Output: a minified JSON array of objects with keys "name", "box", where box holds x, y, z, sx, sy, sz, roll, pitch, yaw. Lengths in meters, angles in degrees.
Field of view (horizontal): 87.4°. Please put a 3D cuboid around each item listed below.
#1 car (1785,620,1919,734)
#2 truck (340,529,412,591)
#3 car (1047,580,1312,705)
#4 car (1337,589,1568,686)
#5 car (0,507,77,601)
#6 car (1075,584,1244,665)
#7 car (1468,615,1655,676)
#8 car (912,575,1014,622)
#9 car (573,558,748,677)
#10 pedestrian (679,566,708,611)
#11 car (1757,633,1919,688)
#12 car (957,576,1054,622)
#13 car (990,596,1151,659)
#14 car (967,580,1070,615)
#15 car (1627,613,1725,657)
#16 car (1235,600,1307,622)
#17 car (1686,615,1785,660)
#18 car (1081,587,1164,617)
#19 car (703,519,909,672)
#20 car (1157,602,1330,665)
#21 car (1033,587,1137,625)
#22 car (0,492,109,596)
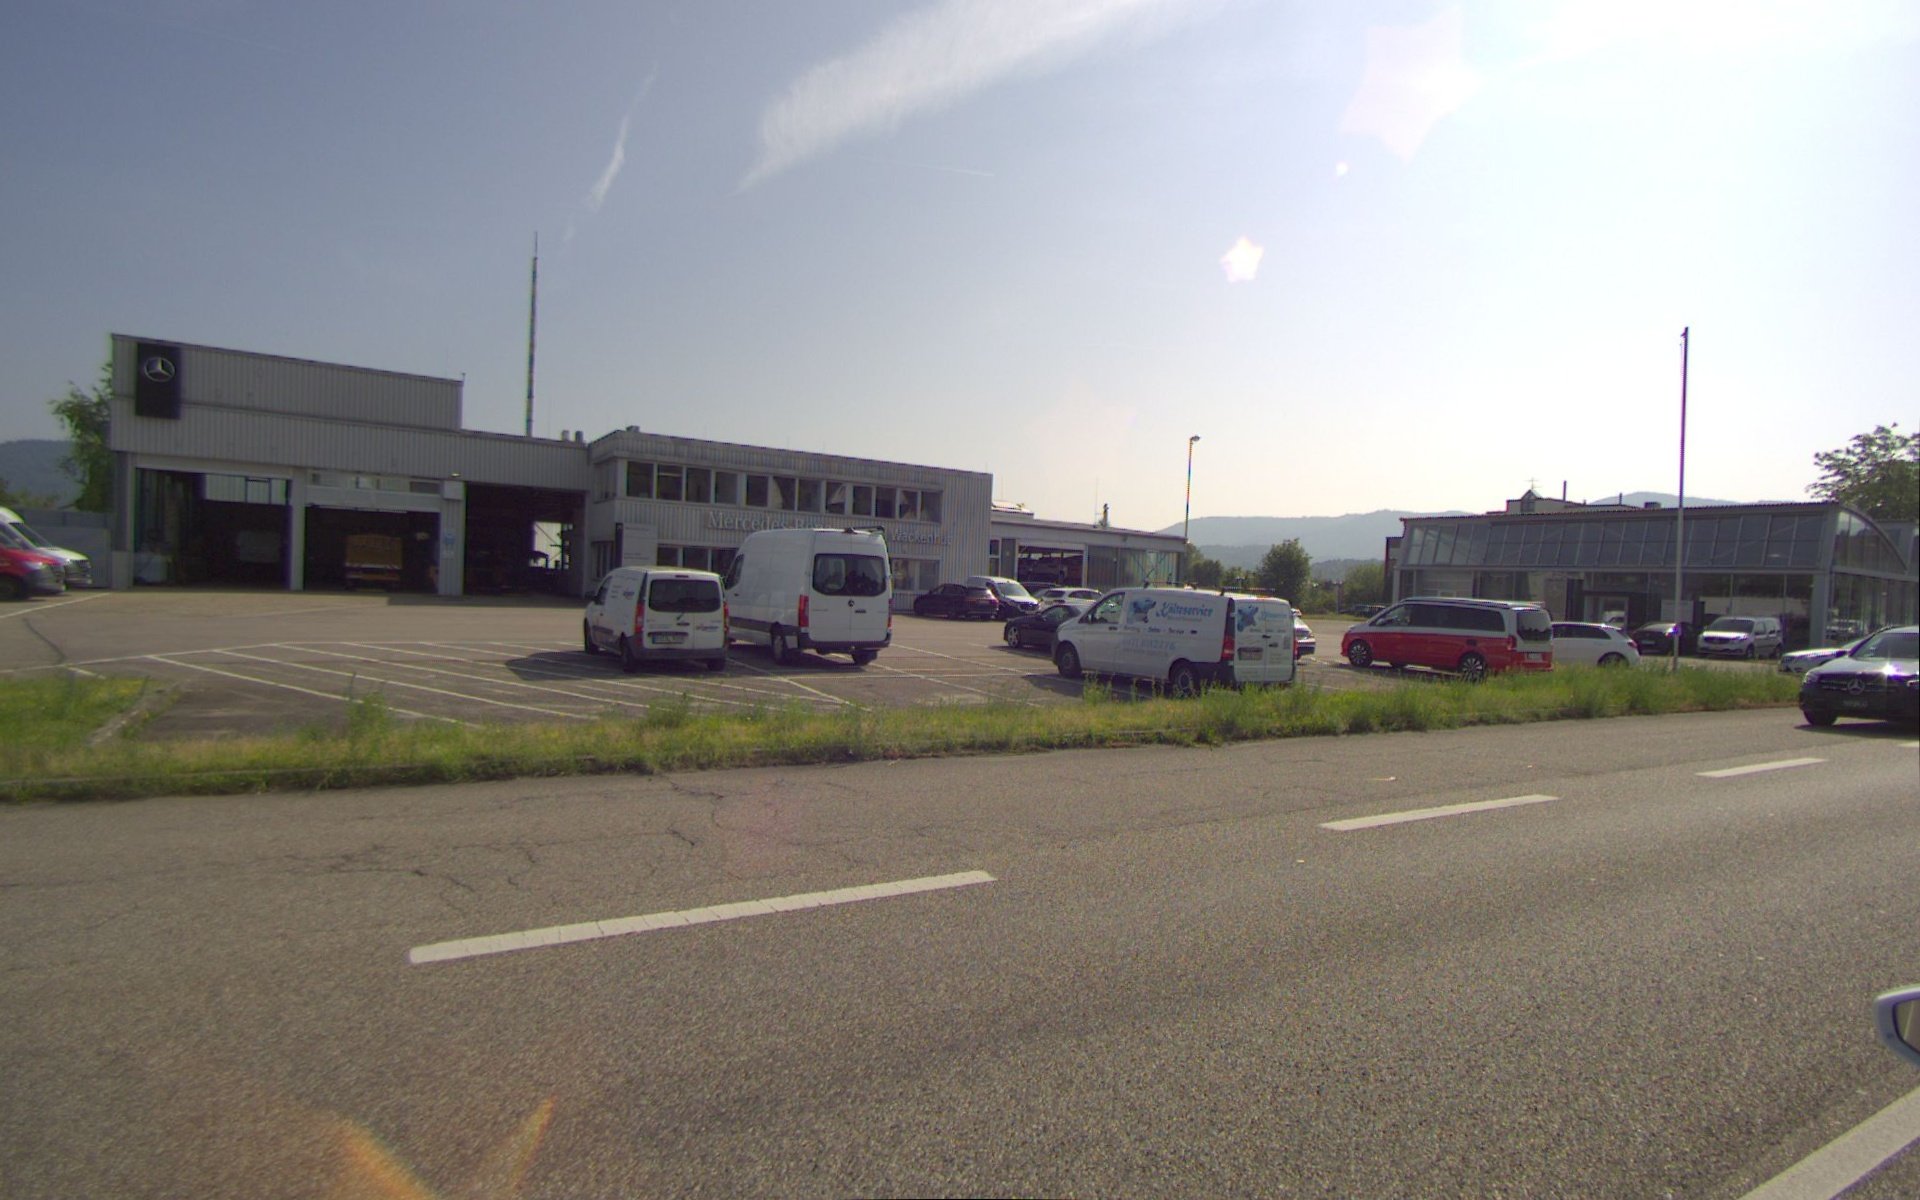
[{"name":"car","box":[15.647,1.193,16.349,4.483,1.651,1.805,2,-1,-27]},{"name":"truck","box":[-25.661,-1.658,43.985,2.425,2.389,6.838,2,-1,-33]},{"name":"car","box":[3.906,0.674,18.692,2.120,1.883,4.643,1,2,-33]},{"name":"car","box":[12.370,0.861,25.561,2.205,2.008,4.764,1,2,-33]},{"name":"car","box":[-26.757,-1.255,26.298,5.165,2.418,1.870,1,0,-32]},{"name":"car","box":[5.306,0.600,27.223,1.980,1.832,4.355,1,2,-33]},{"name":"car","box":[16.823,1.232,28.342,4.146,1.422,1.898,3,0,18]},{"name":"car","box":[0.069,-0.108,42.636,2.186,1.879,4.790,0,1,-31]},{"name":"car","box":[-5.720,0.238,18.779,1.966,1.864,4.418,2,2,-33]},{"name":"pedestrian","box":[-10.435,-0.457,39.347,0.842,1.712,0.815,2,0,-35]},{"name":"car","box":[25.745,1.719,28.635,4.307,1.385,1.854,1,0,18]},{"name":"car","box":[1.908,-0.082,43.811,1.930,1.879,4.790,0,1,-31]},{"name":"car","box":[2.759,0.659,26.051,1.780,1.336,4.355,1,2,-32]},{"name":"car","box":[2.833,-0.118,48.019,4.779,1.587,1.795,0,1,-33]},{"name":"car","box":[31.018,1.463,43.485,4.885,1.736,1.795,0,1,-33]},{"name":"car","box":[21.457,0.747,69.526,1.885,1.307,4.795,2,0,-28]},{"name":"car","box":[31.962,1.496,41.375,4.359,1.736,1.795,0,1,-32]},{"name":"car","box":[9.139,0.100,56.959,2.183,1.587,4.795,1,1,-28]},{"name":"car","box":[-3.446,-0.176,21.233,2.259,2.781,5.691,2,2,-31]},{"name":"car","box":[7.760,0.893,27.929,1.945,1.417,4.439,2,1,-33]},{"name":"car","box":[5.646,0.284,45.038,4.519,1.512,1.795,3,0,-33]},{"name":"car","box":[-28.868,-1.649,28.811,6.456,2.894,2.381,1,0,-32]}]
